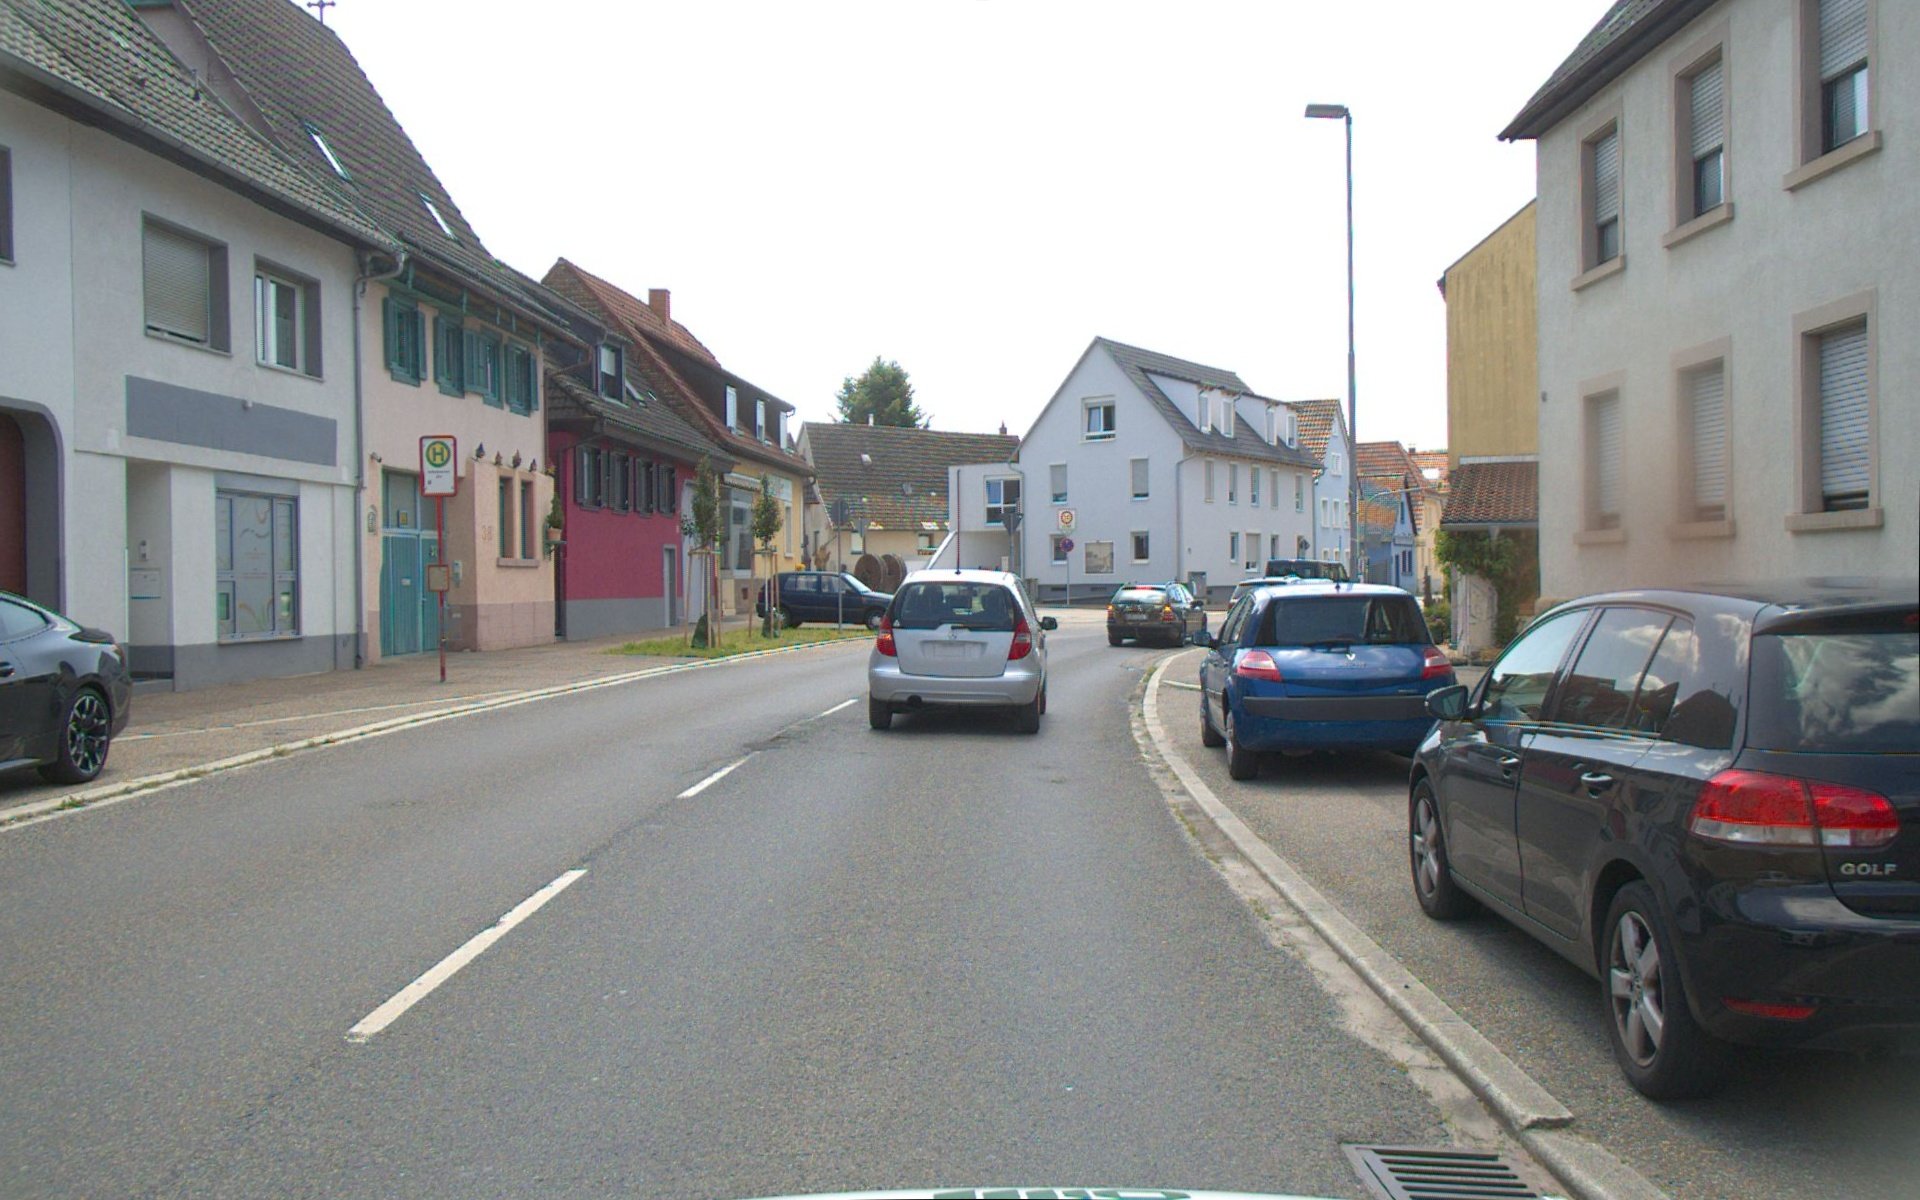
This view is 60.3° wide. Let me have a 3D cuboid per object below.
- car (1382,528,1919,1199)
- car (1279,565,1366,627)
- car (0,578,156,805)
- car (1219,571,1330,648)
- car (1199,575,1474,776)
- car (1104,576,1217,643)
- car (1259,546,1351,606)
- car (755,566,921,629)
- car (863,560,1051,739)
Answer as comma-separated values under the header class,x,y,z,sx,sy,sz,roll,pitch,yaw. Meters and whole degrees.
class,x,y,z,sx,sy,sz,roll,pitch,yaw
car,2.880,0.581,6.013,1.731,1.556,4.002,-3,3,2
car,9.662,-0.082,43.882,1.845,1.557,4.002,1,0,18
car,-6.810,0.585,9.899,1.729,1.372,4.756,0,1,-1
car,7.115,0.181,37.073,1.845,1.556,4.338,-3,0,18
car,2.955,0.554,13.728,1.686,1.410,4.002,-1,0,5
car,4.655,0.221,37.978,1.714,1.440,4.001,1,0,20
car,11.306,-0.769,53.989,1.955,1.847,3.995,1,0,27
car,-3.023,-0.076,41.430,3.883,1.489,1.722,1,1,5
car,0.055,0.429,17.811,1.773,1.672,3.731,2,1,2
